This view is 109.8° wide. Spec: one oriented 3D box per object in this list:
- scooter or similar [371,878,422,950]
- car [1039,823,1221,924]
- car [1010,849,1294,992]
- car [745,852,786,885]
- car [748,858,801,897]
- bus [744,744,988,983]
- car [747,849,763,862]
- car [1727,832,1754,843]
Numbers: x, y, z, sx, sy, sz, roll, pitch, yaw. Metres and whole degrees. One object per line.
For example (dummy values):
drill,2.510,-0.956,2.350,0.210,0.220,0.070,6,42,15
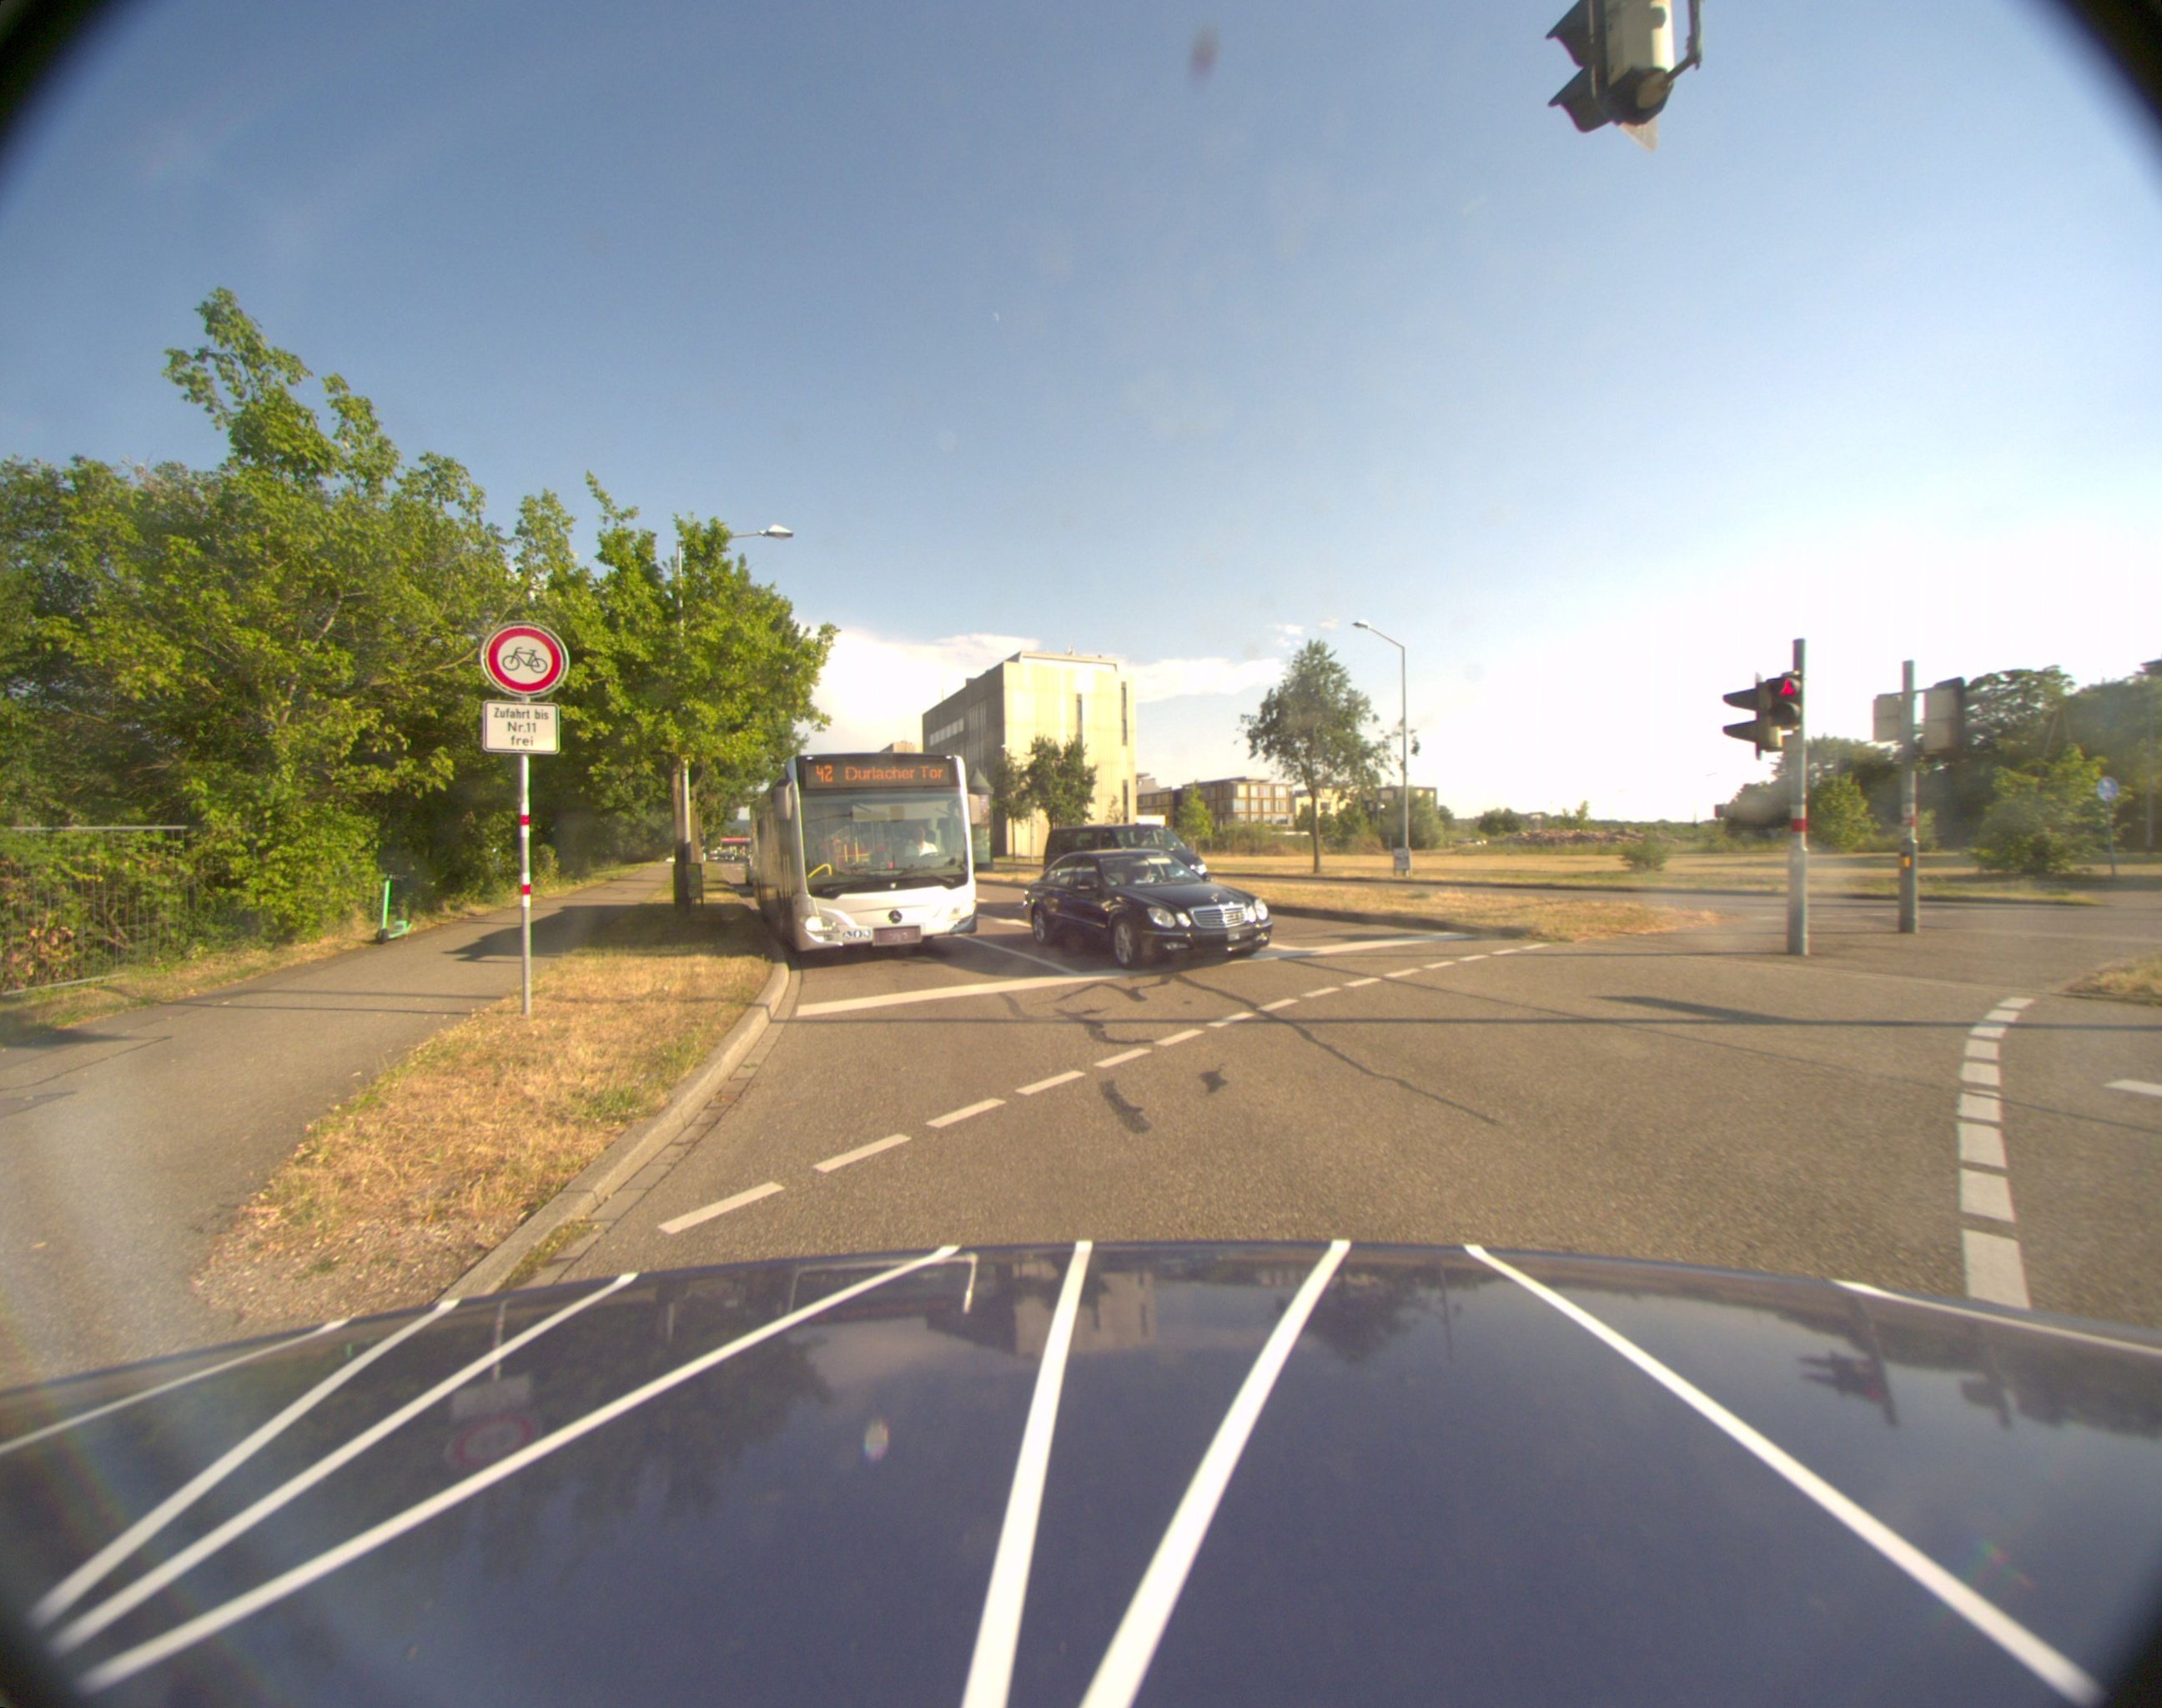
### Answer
scooter or similar,-11.402,0.982,12.684,0.249,1.119,1.093,1,0,-21
car,0.920,0.357,17.569,1.864,1.921,5.002,-3,2,-27
car,0.680,0.709,10.468,1.813,1.428,4.484,-4,1,-25
car,-16.089,0.692,38.668,1.588,1.553,3.619,-2,1,-28
car,-12.385,0.894,30.583,1.588,1.415,3.619,-2,1,-28
bus,-5.116,0.069,15.443,2.600,3.025,11.694,-3,1,-26
car,-40.893,0.203,95.333,1.588,1.553,3.619,-2,1,-28
car,76.941,-1.905,88.674,1.334,1.284,2.808,-1,1,17
